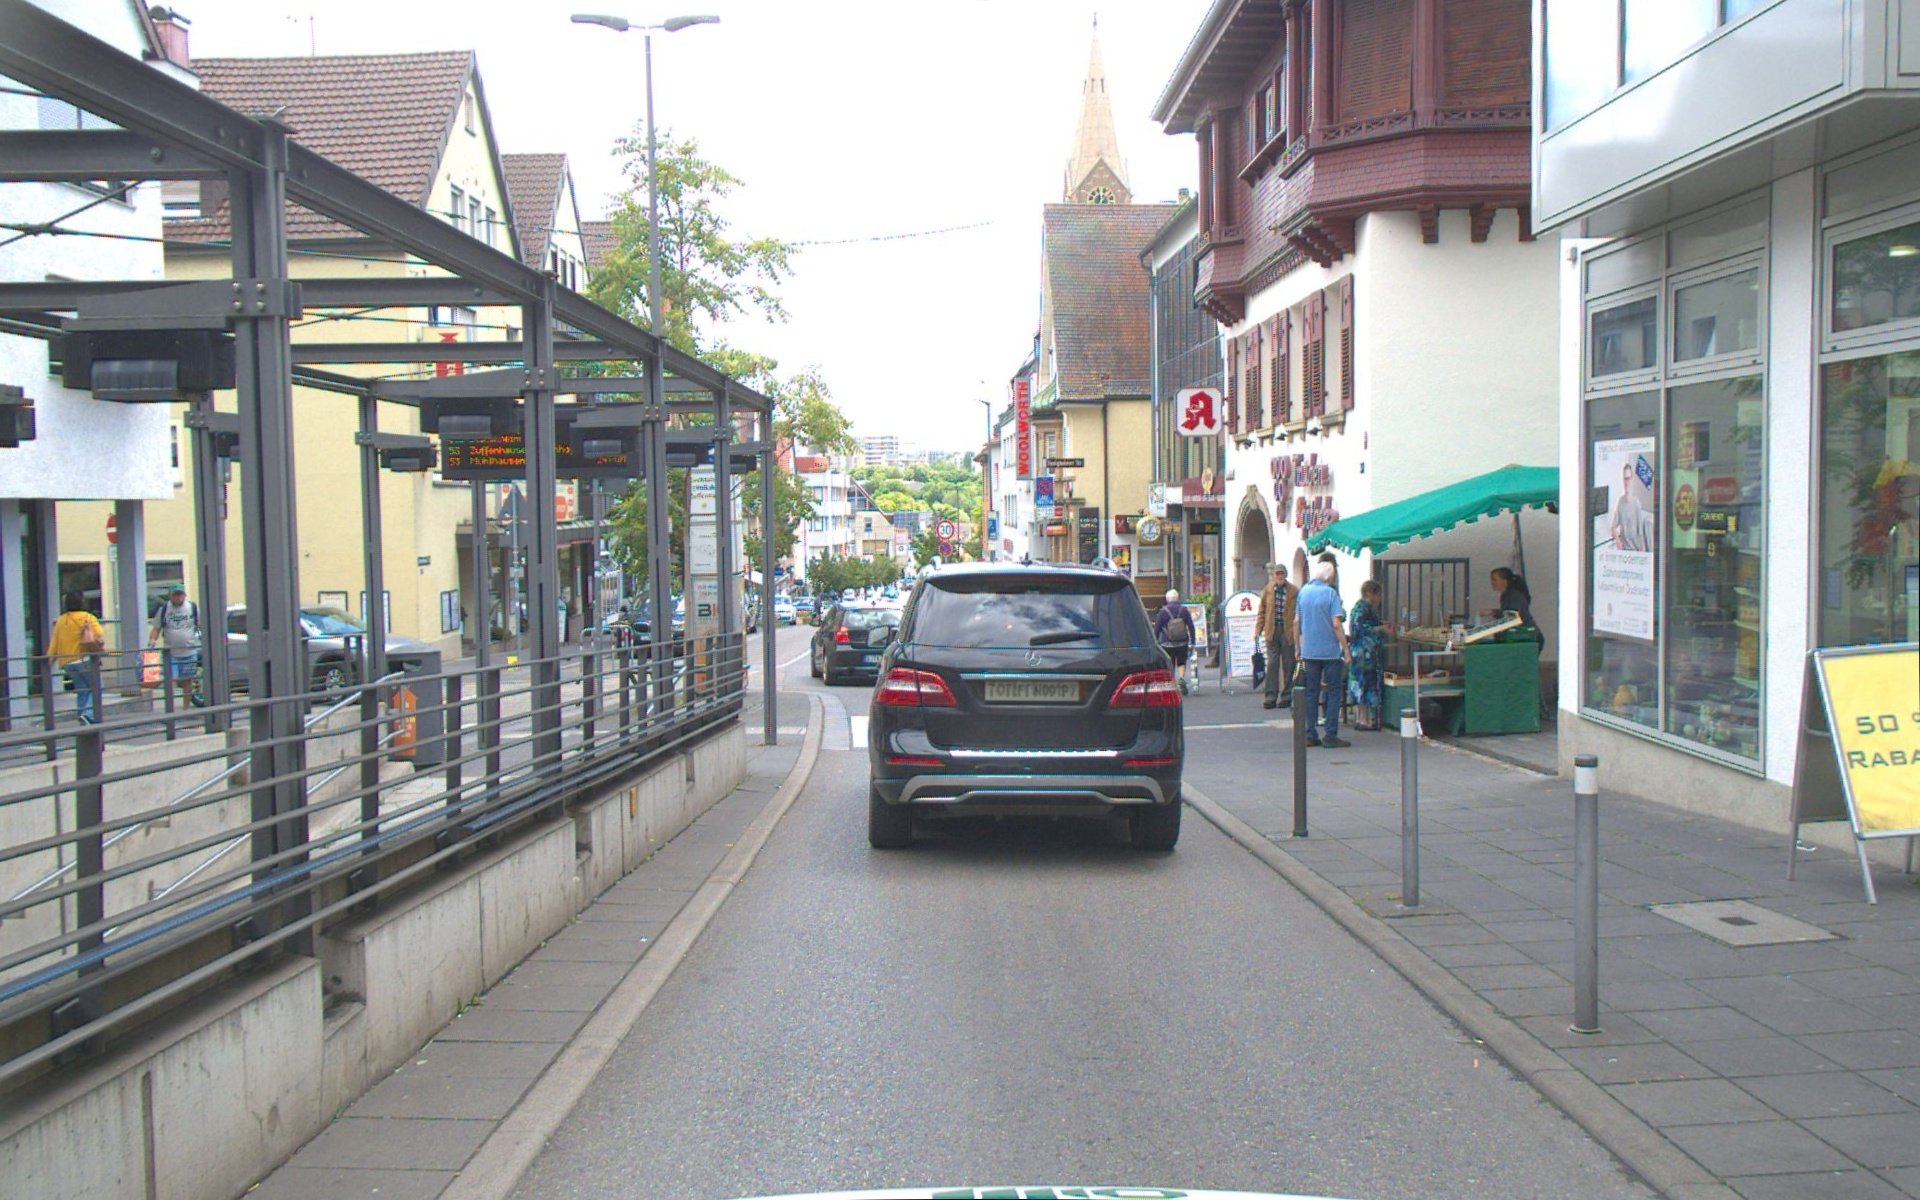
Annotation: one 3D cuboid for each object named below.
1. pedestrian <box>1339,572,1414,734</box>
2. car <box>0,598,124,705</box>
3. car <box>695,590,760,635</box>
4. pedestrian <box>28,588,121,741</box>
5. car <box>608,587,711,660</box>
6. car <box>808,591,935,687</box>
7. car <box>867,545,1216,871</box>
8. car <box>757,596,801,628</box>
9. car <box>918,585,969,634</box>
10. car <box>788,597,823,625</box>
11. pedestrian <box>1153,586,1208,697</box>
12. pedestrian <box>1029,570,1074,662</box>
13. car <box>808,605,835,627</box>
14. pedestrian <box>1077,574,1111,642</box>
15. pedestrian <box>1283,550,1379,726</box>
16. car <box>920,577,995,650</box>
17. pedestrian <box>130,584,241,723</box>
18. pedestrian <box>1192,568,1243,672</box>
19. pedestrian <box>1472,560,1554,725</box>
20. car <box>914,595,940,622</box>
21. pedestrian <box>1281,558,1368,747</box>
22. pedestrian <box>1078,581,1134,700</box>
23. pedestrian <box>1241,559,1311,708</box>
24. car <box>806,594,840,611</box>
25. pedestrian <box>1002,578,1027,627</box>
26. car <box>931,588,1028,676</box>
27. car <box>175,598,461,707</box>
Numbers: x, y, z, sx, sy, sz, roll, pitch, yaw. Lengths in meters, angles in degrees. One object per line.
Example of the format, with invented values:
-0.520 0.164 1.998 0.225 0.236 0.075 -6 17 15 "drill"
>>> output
4.323 0.541 17.193 0.610 1.641 0.703 -1 0 4 "pedestrian"
-19.064 1.069 32.359 4.249 1.837 2.002 -4 3 3 "car"
-8.427 0.424 60.296 1.888 1.518 4.840 1 0 -3 "car"
-10.605 0.753 19.832 0.624 1.769 0.835 -2 0 -4 "pedestrian"
-7.713 0.555 42.871 1.966 1.723 4.606 0 1 -2 "car"
-1.638 0.640 29.496 1.754 1.567 3.734 -1 0 -11 "car"
0.417 0.584 11.177 1.904 1.770 4.178 1 0 -1 "car"
-9.055 0.571 82.997 1.888 1.538 4.260 1 0 -3 "car"
-0.592 0.310 59.829 1.713 1.636 3.799 -3 0 -1 "car"
-9.349 0.667 100.255 1.888 1.650 4.637 0 -1 -3 "car"
3.162 0.584 23.805 0.709 1.558 0.808 -1 0 4 "pedestrian"
1.726 0.301 31.110 0.806 1.695 0.802 -1 0 4 "pedestrian"
-10.147 1.141 121.542 1.889 1.523 4.258 1 0 -4 "car"
3.533 0.204 43.653 0.845 1.737 0.945 -1 0 4 "pedestrian"
4.109 0.409 18.320 0.766 1.889 0.699 -1 0 41 "pedestrian"
-0.014 0.316 44.266 1.838 1.831 4.733 -1 0 2 "car"
-10.412 0.701 22.271 0.897 1.819 0.988 -1 0 15 "pedestrian"
4.565 0.343 29.374 0.758 1.800 0.817 -1 0 0 "pedestrian"
5.643 0.427 16.897 0.610 1.641 0.703 -1 0 4 "pedestrian"
-2.559 0.657 127.828 1.899 1.924 4.705 -3 0 -2 "car"
3.566 0.503 16.167 0.686 1.797 0.625 -1 0 24 "pedestrian"
2.099 0.578 23.875 0.756 1.674 0.870 -1 0 4 "pedestrian"
3.980 0.413 20.856 0.769 1.833 0.676 -1 0 4 "pedestrian"
-16.291 0.256 196.511 3.910 1.780 1.998 -3 0 -6 "car"
1.995 0.098 60.654 0.780 1.757 1.052 -2 0 -1 "pedestrian"
0.339 0.583 32.830 1.766 1.582 3.953 -2 0 -1 "car"
-10.742 0.933 27.703 4.252 1.650 1.969 -2 -4 22 "car"
